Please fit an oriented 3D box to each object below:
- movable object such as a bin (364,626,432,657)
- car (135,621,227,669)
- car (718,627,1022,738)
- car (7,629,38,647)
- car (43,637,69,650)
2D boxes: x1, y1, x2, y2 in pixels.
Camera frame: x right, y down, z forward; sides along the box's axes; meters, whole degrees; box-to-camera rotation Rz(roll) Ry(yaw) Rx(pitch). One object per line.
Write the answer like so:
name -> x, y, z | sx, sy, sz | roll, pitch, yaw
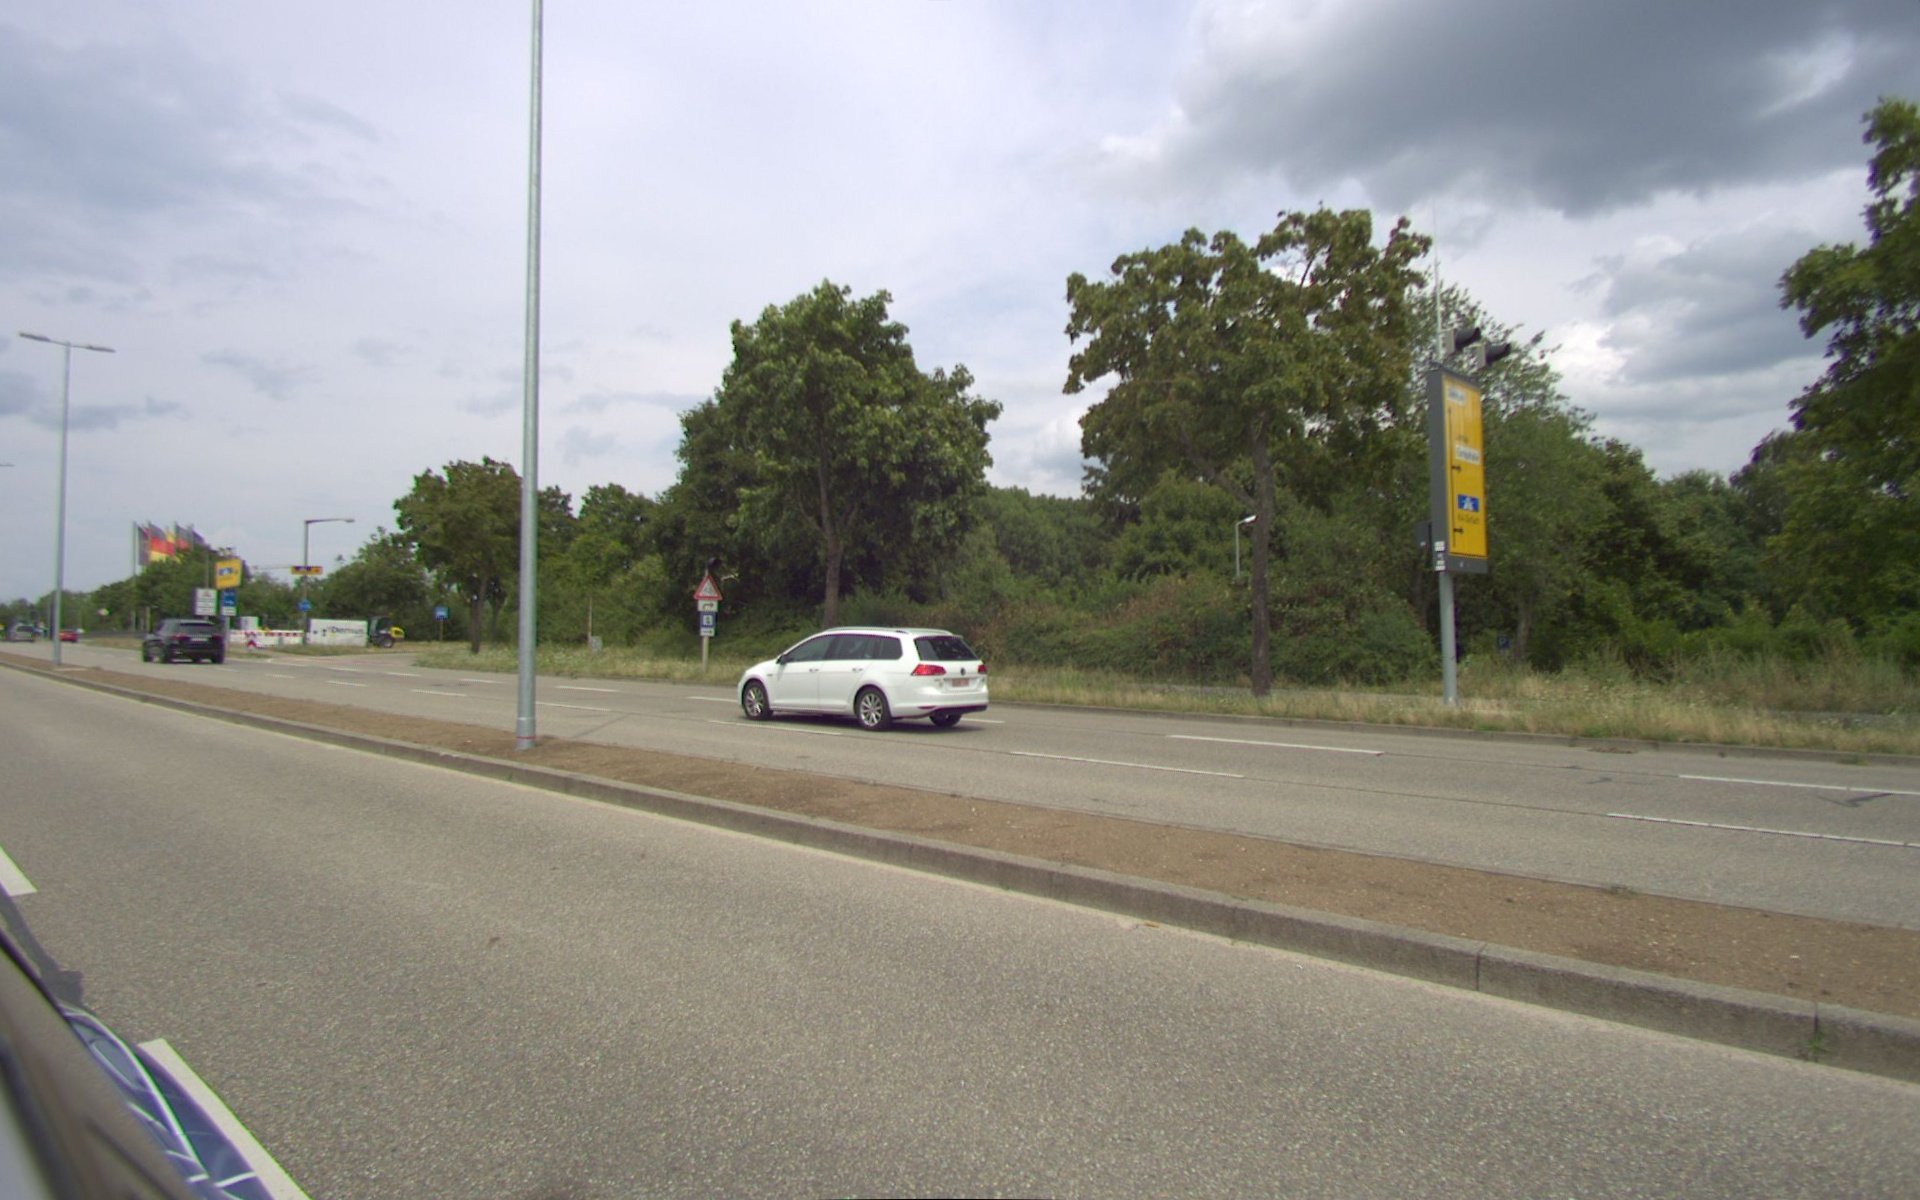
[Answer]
movable object such as a bin -> -45.832, 3.332, 82.595 | 1.993, 2.415, 4.544 | -3, -3, 31
car -> -31.754, 1.863, 41.217 | 4.793, 1.825, 1.973 | -3, -4, 40
car -> -1.496, 1.186, 15.491 | 4.686, 1.442, 1.972 | -3, -4, 42
car -> -96.653, 3.922, 104.302 | 4.537, 1.823, 1.883 | -3, -3, 41
car -> -96.034, 4.635, 107.448 | 4.347, 1.332, 1.734 | -4, -3, 44
